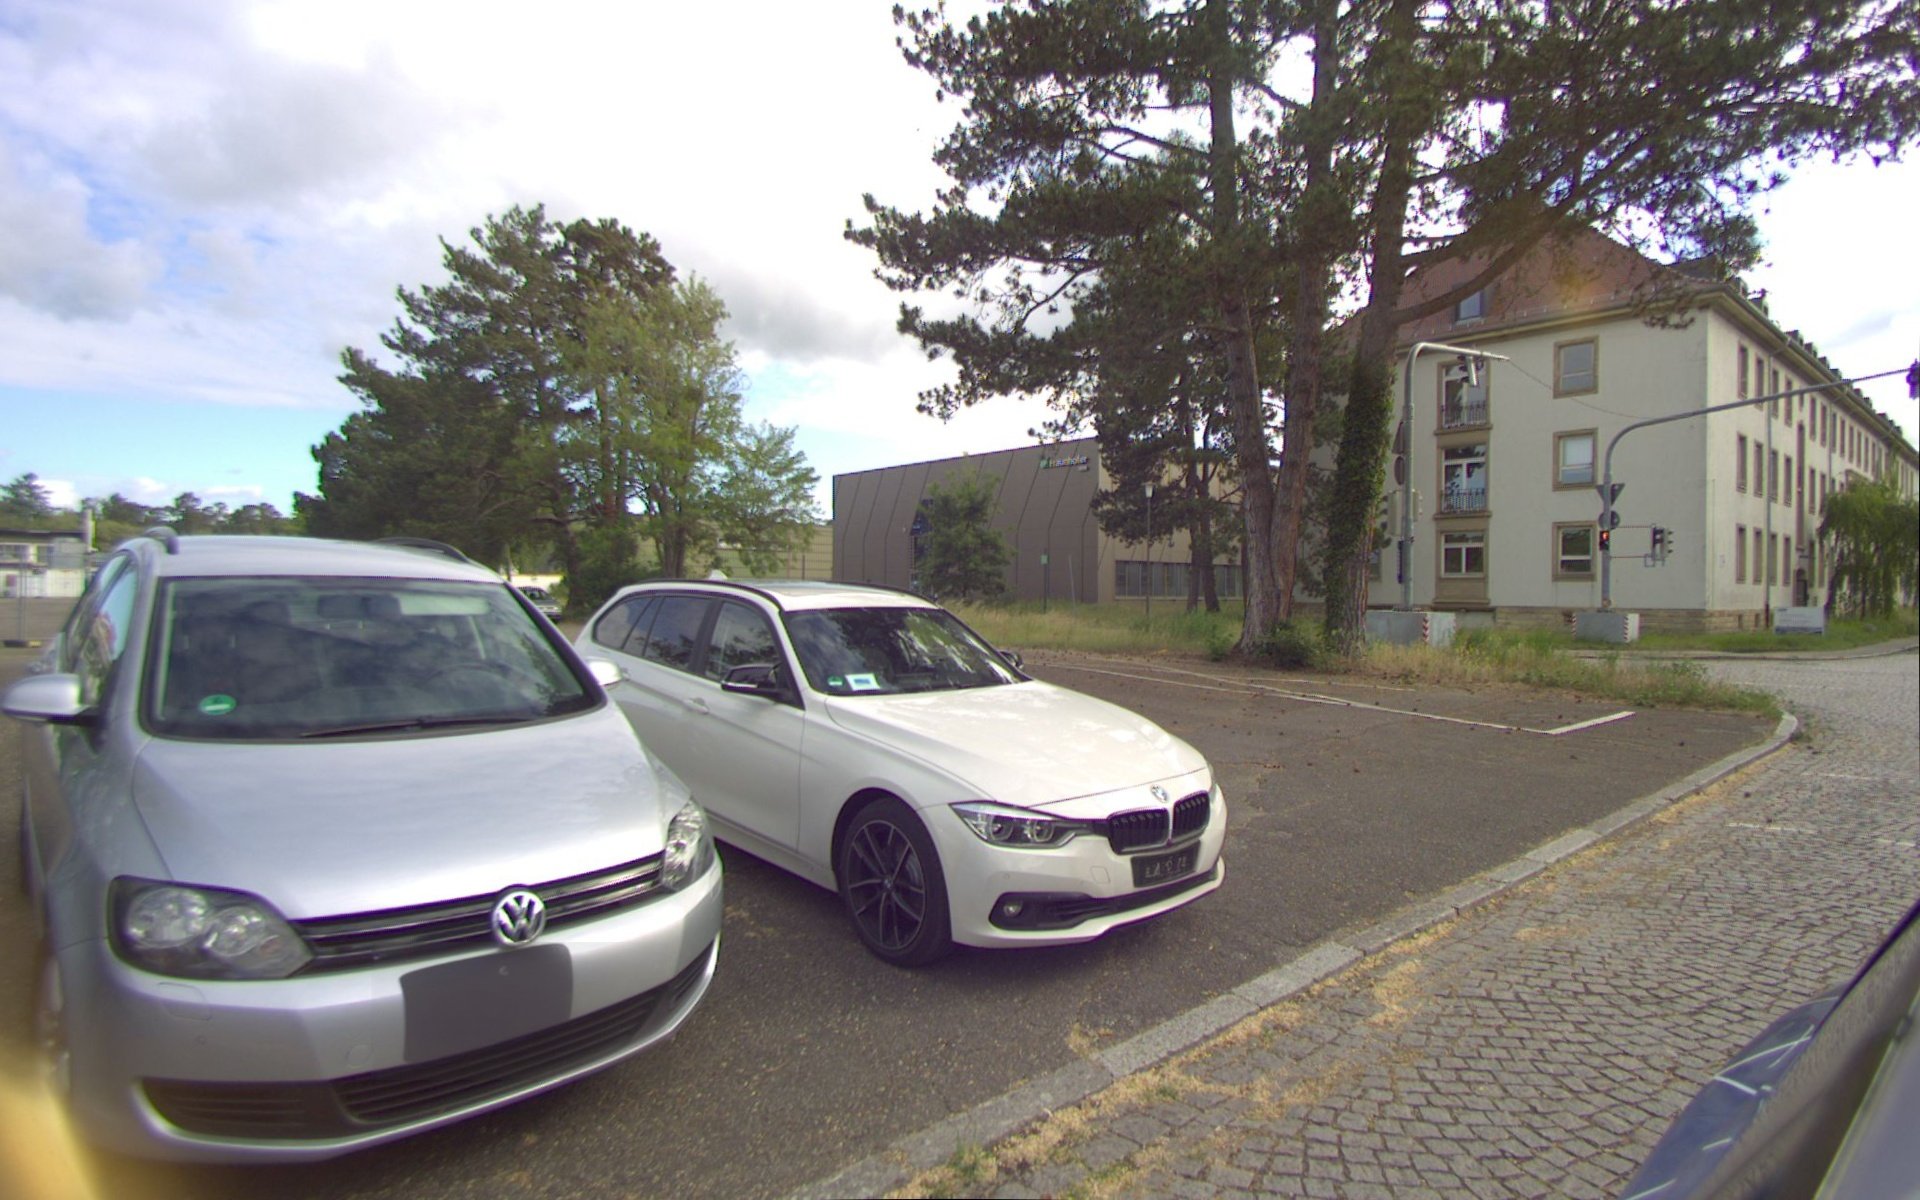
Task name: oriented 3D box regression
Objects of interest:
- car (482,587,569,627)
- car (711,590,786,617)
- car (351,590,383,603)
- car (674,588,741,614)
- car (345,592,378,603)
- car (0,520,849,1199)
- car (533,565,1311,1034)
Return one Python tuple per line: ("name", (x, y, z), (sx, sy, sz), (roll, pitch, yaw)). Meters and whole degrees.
("car", (-17.486, 0.247, 40.620), (1.834, 1.493, 4.139), (0, 0, -45))
("car", (-13.298, 0.176, 63.828), (4.346, 1.481, 1.834), (-4, 3, -44))
("car", (-88.145, -0.486, 150.444), (4.008, 1.862, 1.784), (0, 0, -39))
("car", (-17.474, 0.020, 70.040), (4.127, 1.606, 1.834), (-4, 3, -44))
("car", (-89.866, -0.358, 151.947), (4.008, 1.594, 1.784), (0, 0, -39))
("car", (-2.520, 0.517, 4.012), (4.332, 1.593, 1.798), (4, 4, 44))
("car", (-0.618, 0.608, 5.684), (1.797, 1.443, 4.555), (-1, 4, -43))
